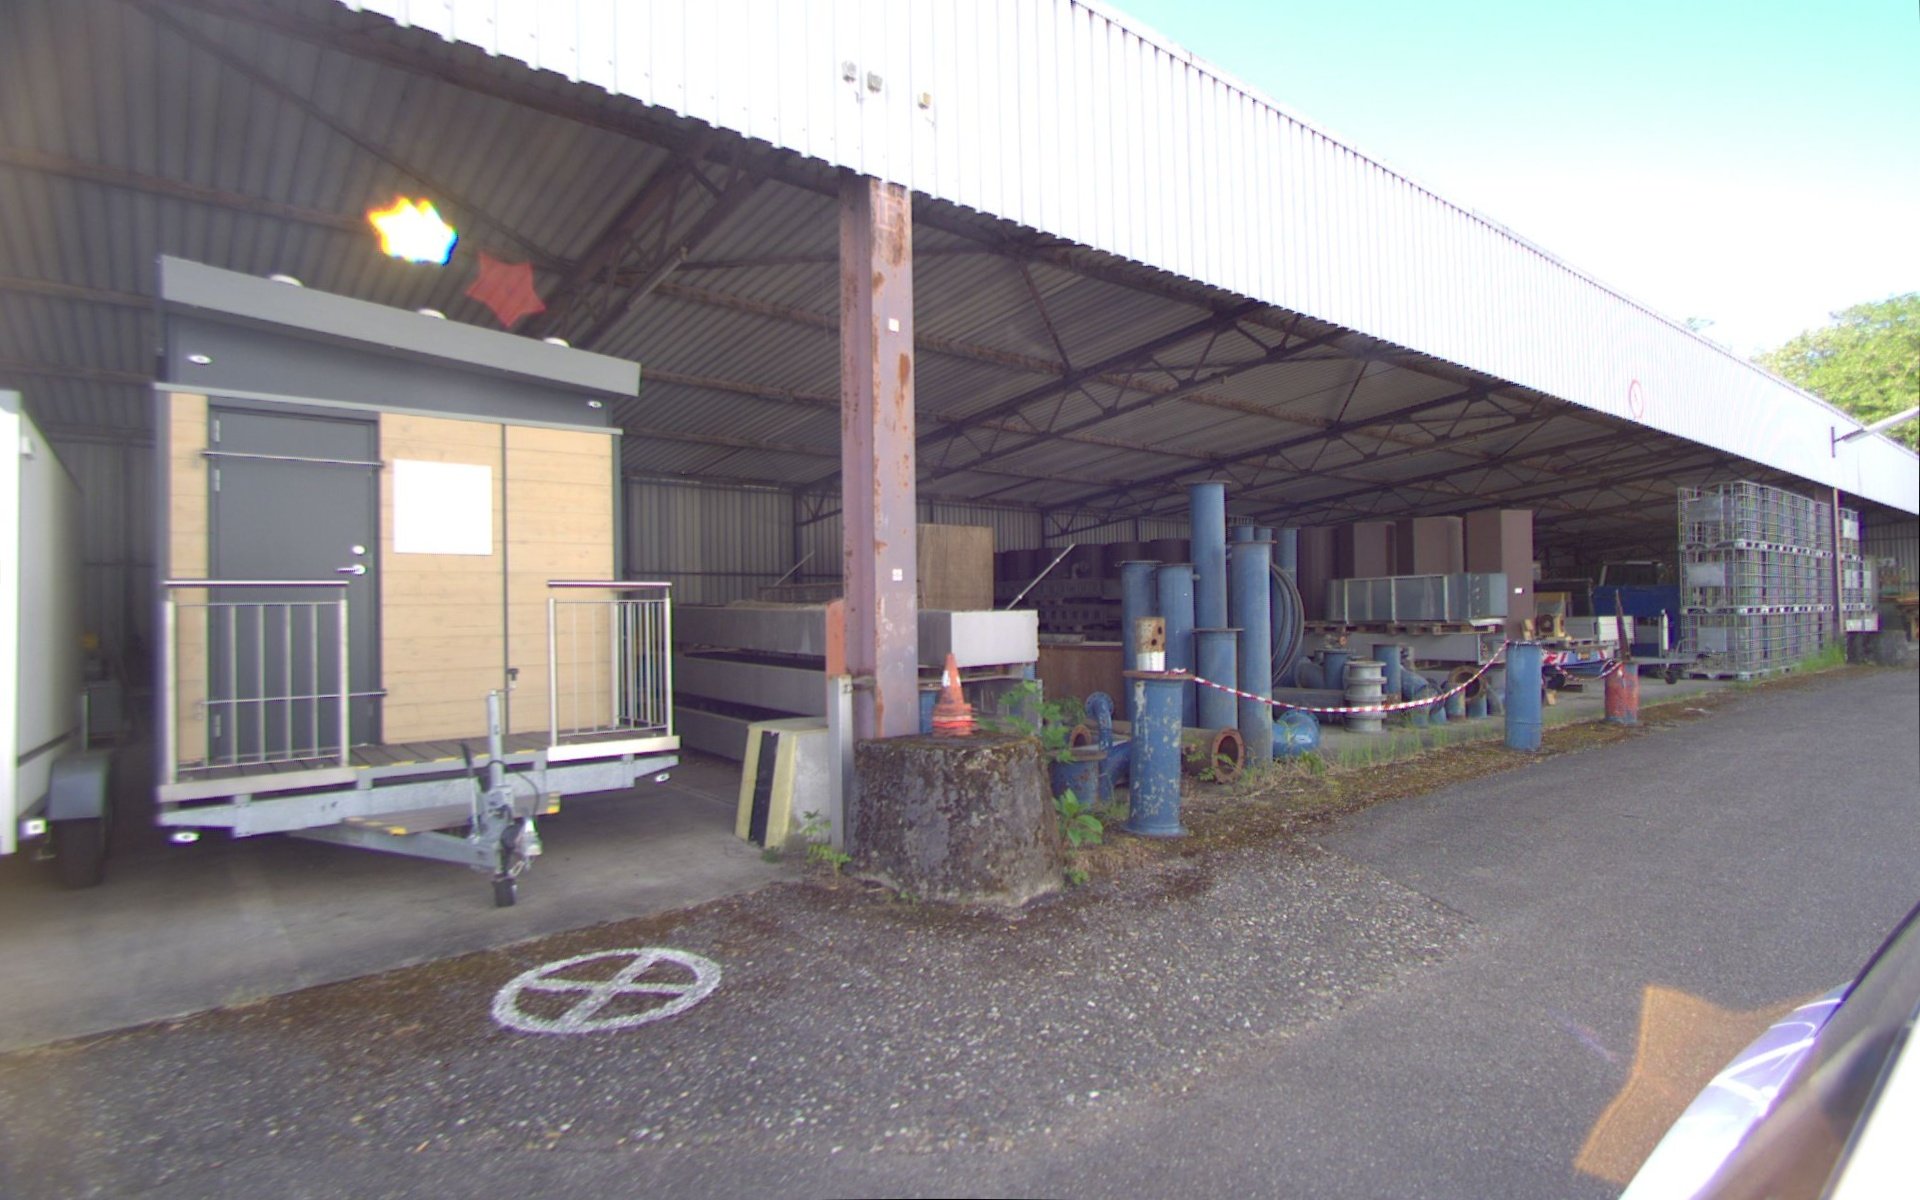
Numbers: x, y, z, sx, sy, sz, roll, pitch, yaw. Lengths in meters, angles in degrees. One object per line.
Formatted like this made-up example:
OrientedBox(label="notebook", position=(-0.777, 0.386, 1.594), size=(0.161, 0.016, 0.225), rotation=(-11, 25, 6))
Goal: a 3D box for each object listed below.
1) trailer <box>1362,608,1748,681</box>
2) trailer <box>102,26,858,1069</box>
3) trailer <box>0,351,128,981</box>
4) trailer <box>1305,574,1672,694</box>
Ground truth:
OrientedBox(label="trailer", position=(10.687, 0.744, 18.695), size=(1.993, 1.134, 5.833), rotation=(0, -1, -40))
OrientedBox(label="trailer", position=(-4.742, -0.118, 7.973), size=(2.802, 3.257, 10.058), rotation=(0, -1, -39))
OrientedBox(label="trailer", position=(-5.248, 0.279, 4.604), size=(1.792, 2.422, 4.828), rotation=(0, -1, -34))
OrientedBox(label="trailer", position=(8.331, 0.493, 16.379), size=(1.993, 1.649, 4.876), rotation=(0, -1, -40))
